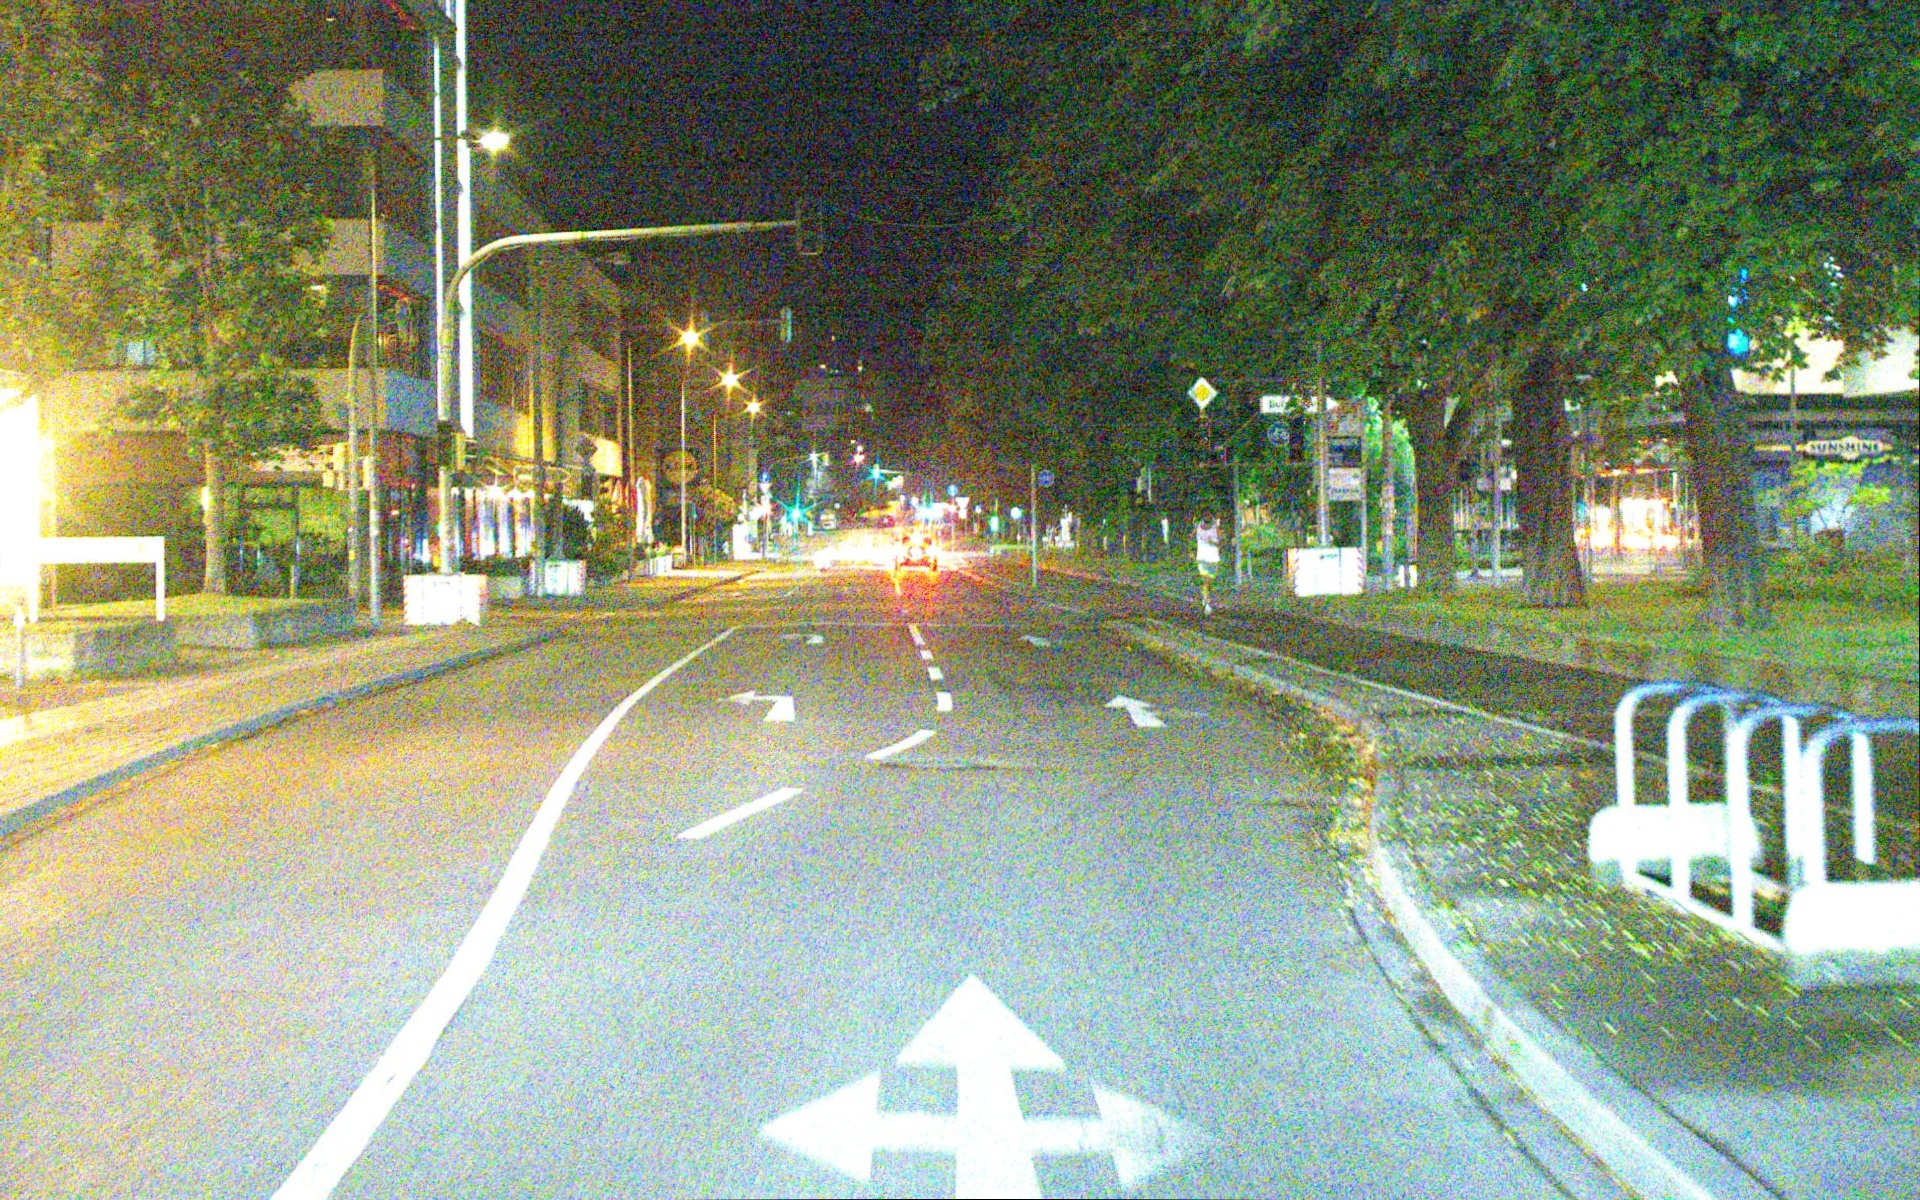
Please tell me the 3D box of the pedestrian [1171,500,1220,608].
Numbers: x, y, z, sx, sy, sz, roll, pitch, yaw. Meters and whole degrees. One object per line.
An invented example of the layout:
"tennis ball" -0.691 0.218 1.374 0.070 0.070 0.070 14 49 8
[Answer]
"pedestrian" 4.006 -0.790 58.556 0.703 1.812 1.082 -2 1 -1

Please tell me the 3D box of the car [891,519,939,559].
"car" -1.976 -2.675 149.325 1.993 1.637 4.001 -2 1 -2
